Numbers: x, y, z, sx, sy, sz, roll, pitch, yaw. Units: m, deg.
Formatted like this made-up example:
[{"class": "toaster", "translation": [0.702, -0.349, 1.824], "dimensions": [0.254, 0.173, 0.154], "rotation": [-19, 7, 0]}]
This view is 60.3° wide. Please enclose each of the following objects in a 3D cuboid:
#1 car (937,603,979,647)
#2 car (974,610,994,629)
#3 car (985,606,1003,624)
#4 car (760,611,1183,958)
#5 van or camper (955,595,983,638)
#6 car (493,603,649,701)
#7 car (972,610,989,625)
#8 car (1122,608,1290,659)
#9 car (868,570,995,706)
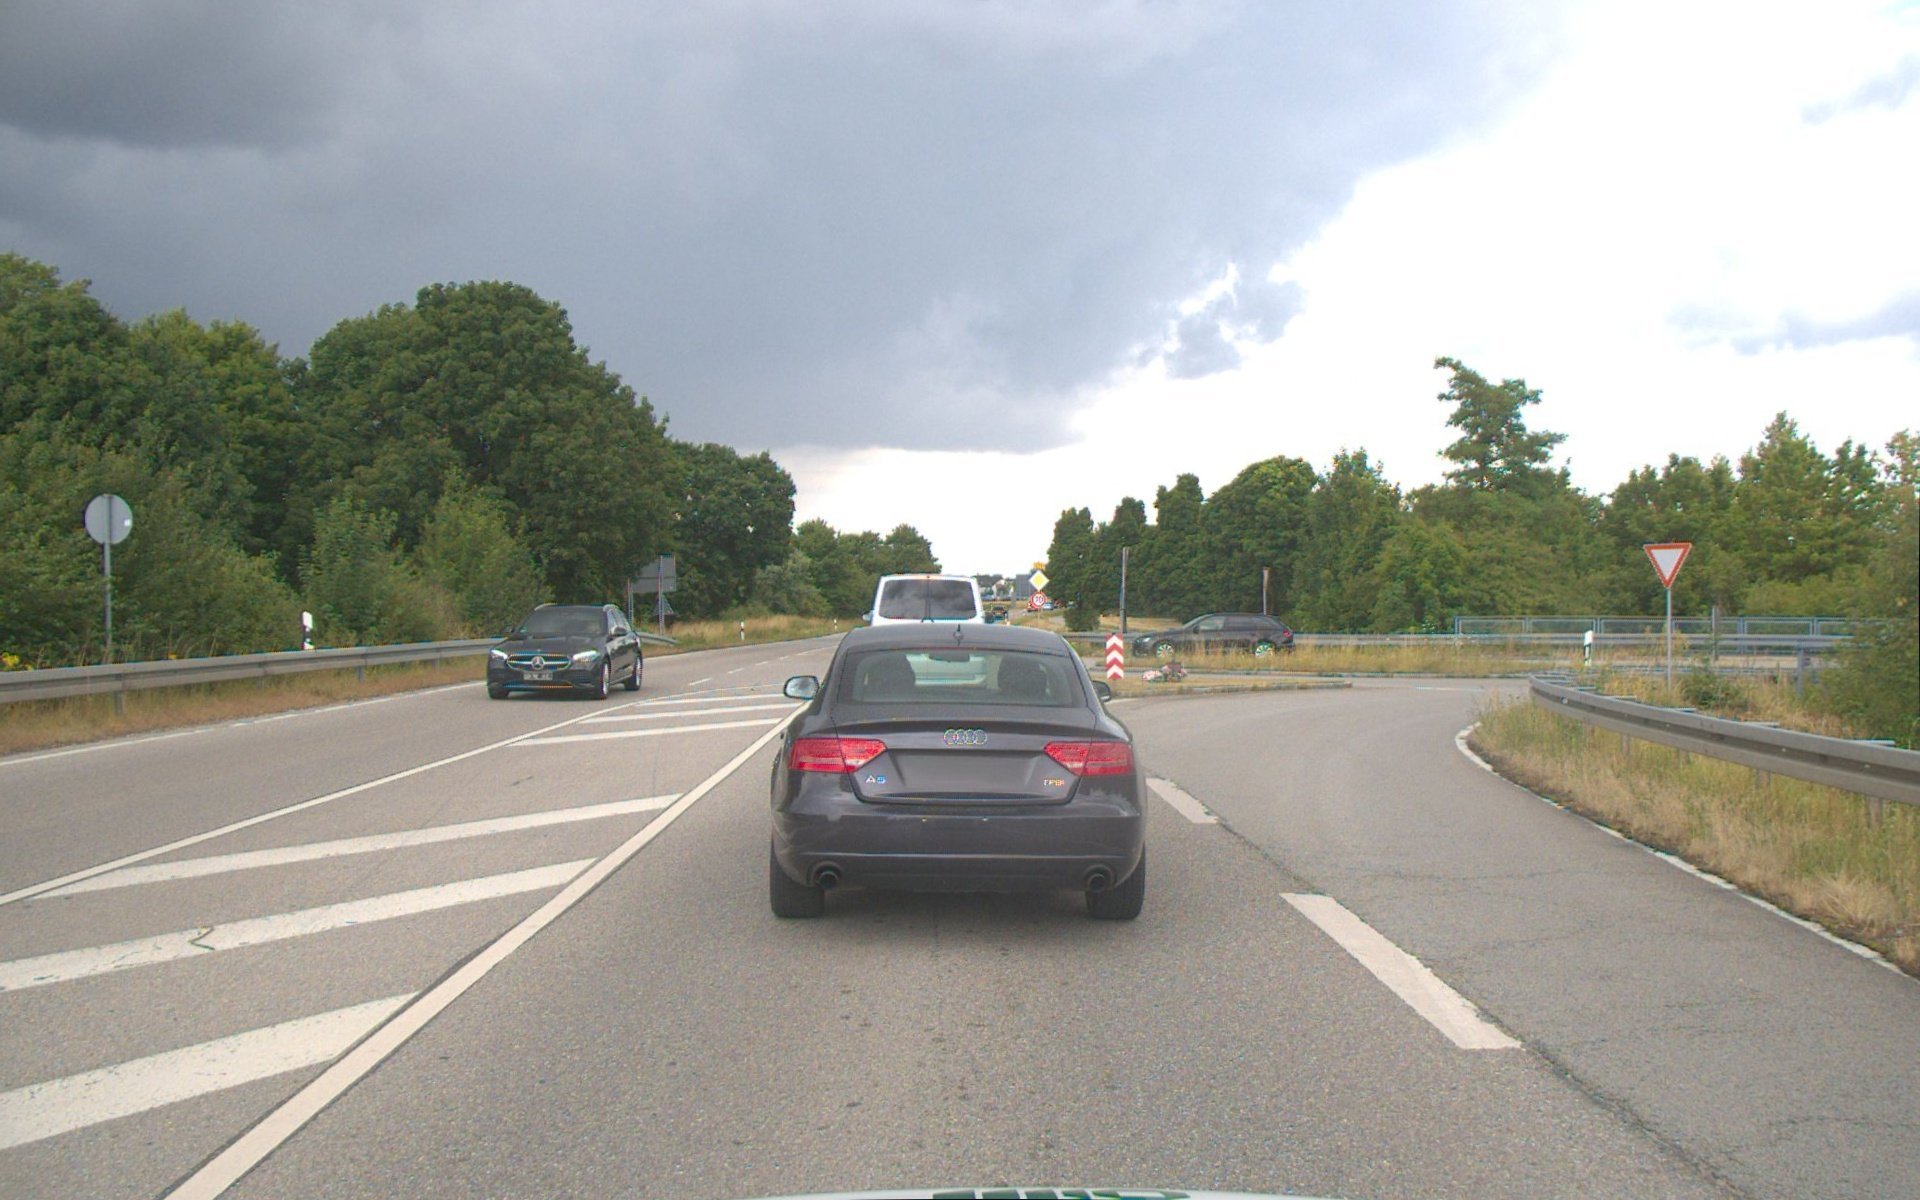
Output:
[{"class": "car", "translation": [-0.061, 1.236, 82.947], "dimensions": [1.952, 2.125, 4.001], "rotation": [0, -1, 2]}, {"class": "car", "translation": [1.806, 1.479, 124.203], "dimensions": [1.231, 1.377, 3.468], "rotation": [0, -1, 5]}, {"class": "car", "translation": [4.013, 1.741, 196.304], "dimensions": [1.953, 2.049, 3.999], "rotation": [-1, 0, -1]}, {"class": "car", "translation": [0.022, 0.785, 8.900], "dimensions": [1.746, 1.401, 3.999], "rotation": [1, 0, -1]}, {"class": "van or camper", "translation": [0.771, 1.377, 139.641], "dimensions": [2.292, 3.542, 5.719], "rotation": [0, -1, 1]}, {"class": "car", "translation": [-6.256, 0.789, 27.037], "dimensions": [1.637, 1.454, 4.256], "rotation": [0, 0, -2]}, {"class": "car", "translation": [2.074, 1.782, 168.340], "dimensions": [1.683, 1.477, 4.000], "rotation": [1, 0, 0]}, {"class": "car", "translation": [6.916, 0.933, 46.767], "dimensions": [4.502, 1.398, 1.826], "rotation": [0, -1, 0]}, {"class": "car", "translation": [-0.435, 0.545, 25.694], "dimensions": [1.801, 1.915, 3.999], "rotation": [1, 0, -1]}]
